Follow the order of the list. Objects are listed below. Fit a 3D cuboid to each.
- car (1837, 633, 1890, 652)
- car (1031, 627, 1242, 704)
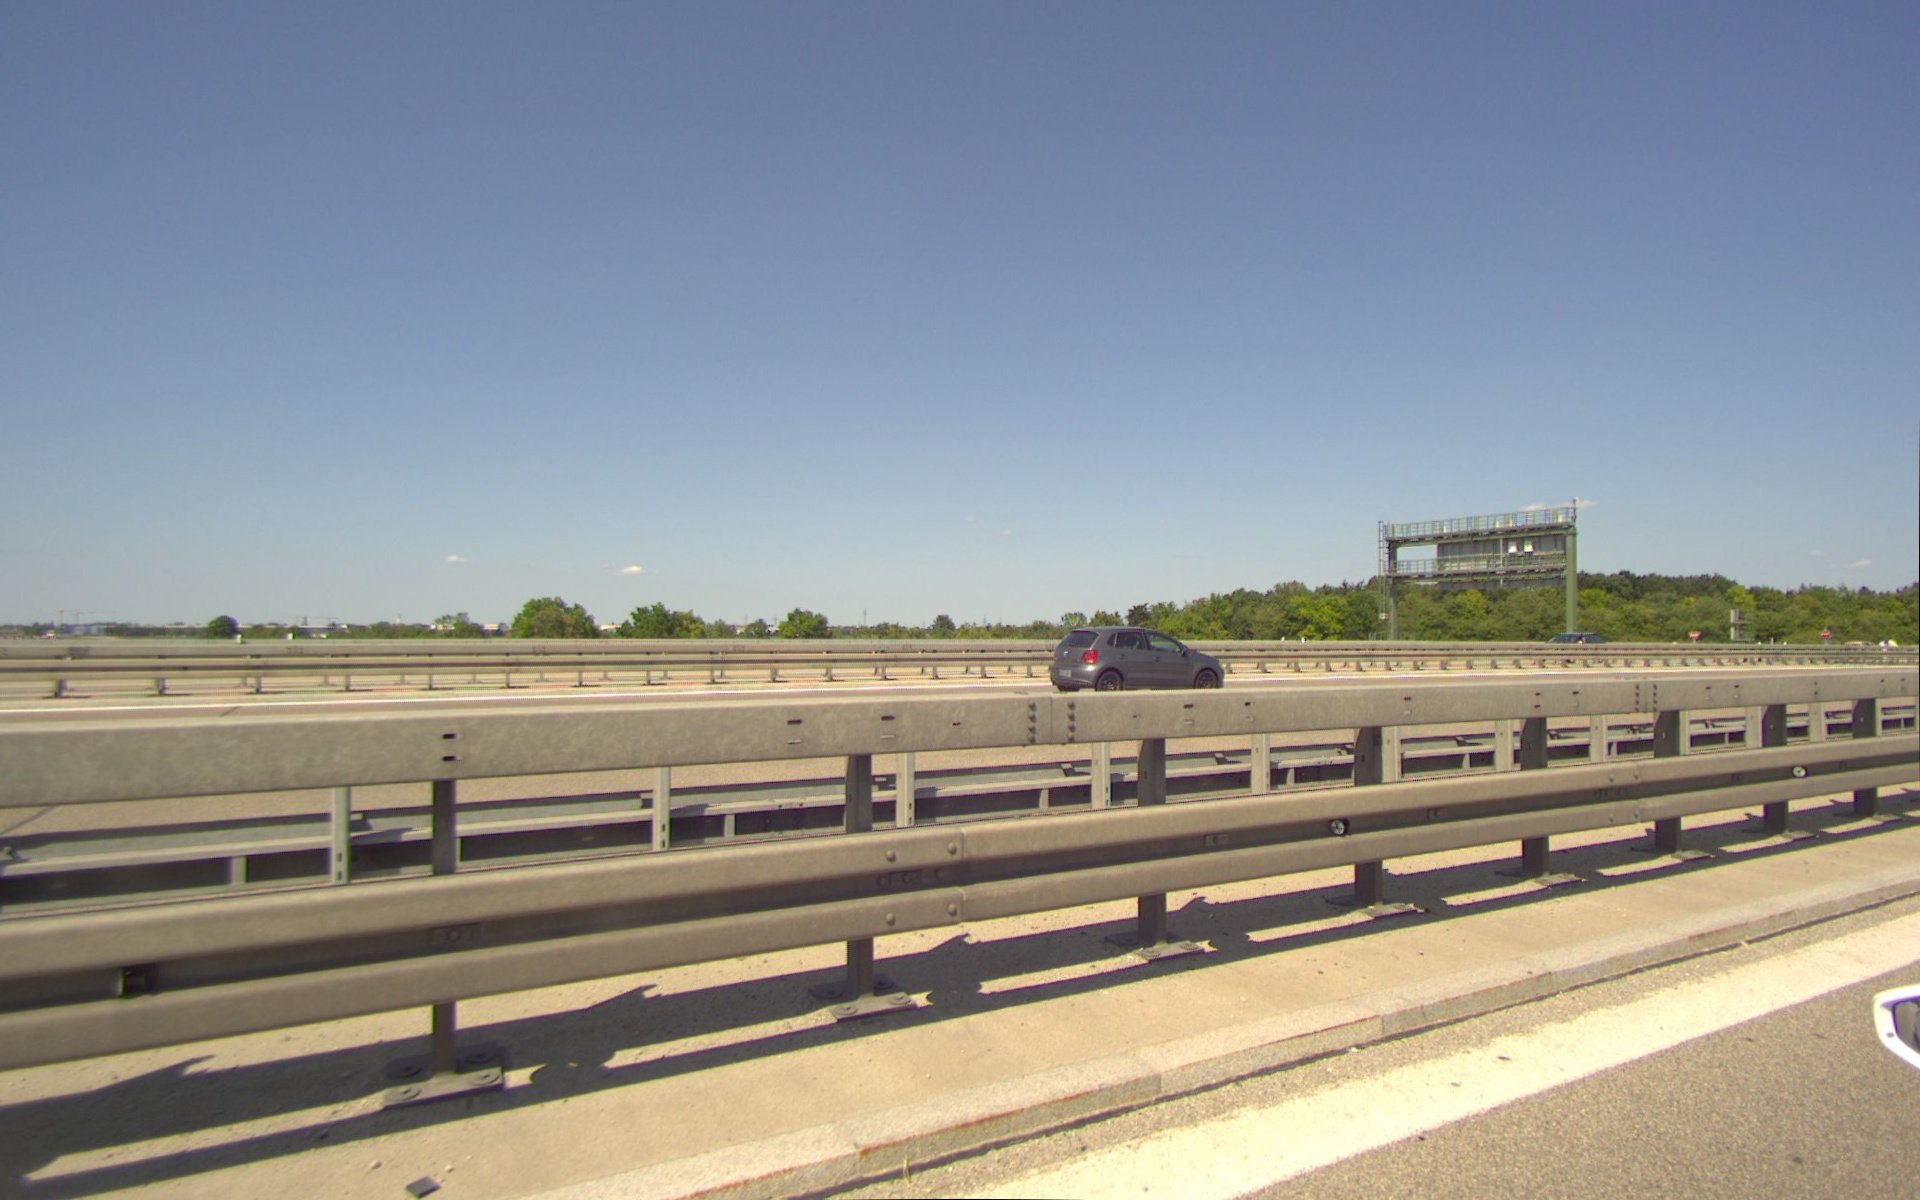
[{"bbox_3d":[74.204,3.484,82.500,4.475,1.537,1.830,1,-1,-28],"label":"car"},{"bbox_3d":[3.709,1.309,20.968,4.164,1.441,1.755,1,-1,-28],"label":"car"}]
